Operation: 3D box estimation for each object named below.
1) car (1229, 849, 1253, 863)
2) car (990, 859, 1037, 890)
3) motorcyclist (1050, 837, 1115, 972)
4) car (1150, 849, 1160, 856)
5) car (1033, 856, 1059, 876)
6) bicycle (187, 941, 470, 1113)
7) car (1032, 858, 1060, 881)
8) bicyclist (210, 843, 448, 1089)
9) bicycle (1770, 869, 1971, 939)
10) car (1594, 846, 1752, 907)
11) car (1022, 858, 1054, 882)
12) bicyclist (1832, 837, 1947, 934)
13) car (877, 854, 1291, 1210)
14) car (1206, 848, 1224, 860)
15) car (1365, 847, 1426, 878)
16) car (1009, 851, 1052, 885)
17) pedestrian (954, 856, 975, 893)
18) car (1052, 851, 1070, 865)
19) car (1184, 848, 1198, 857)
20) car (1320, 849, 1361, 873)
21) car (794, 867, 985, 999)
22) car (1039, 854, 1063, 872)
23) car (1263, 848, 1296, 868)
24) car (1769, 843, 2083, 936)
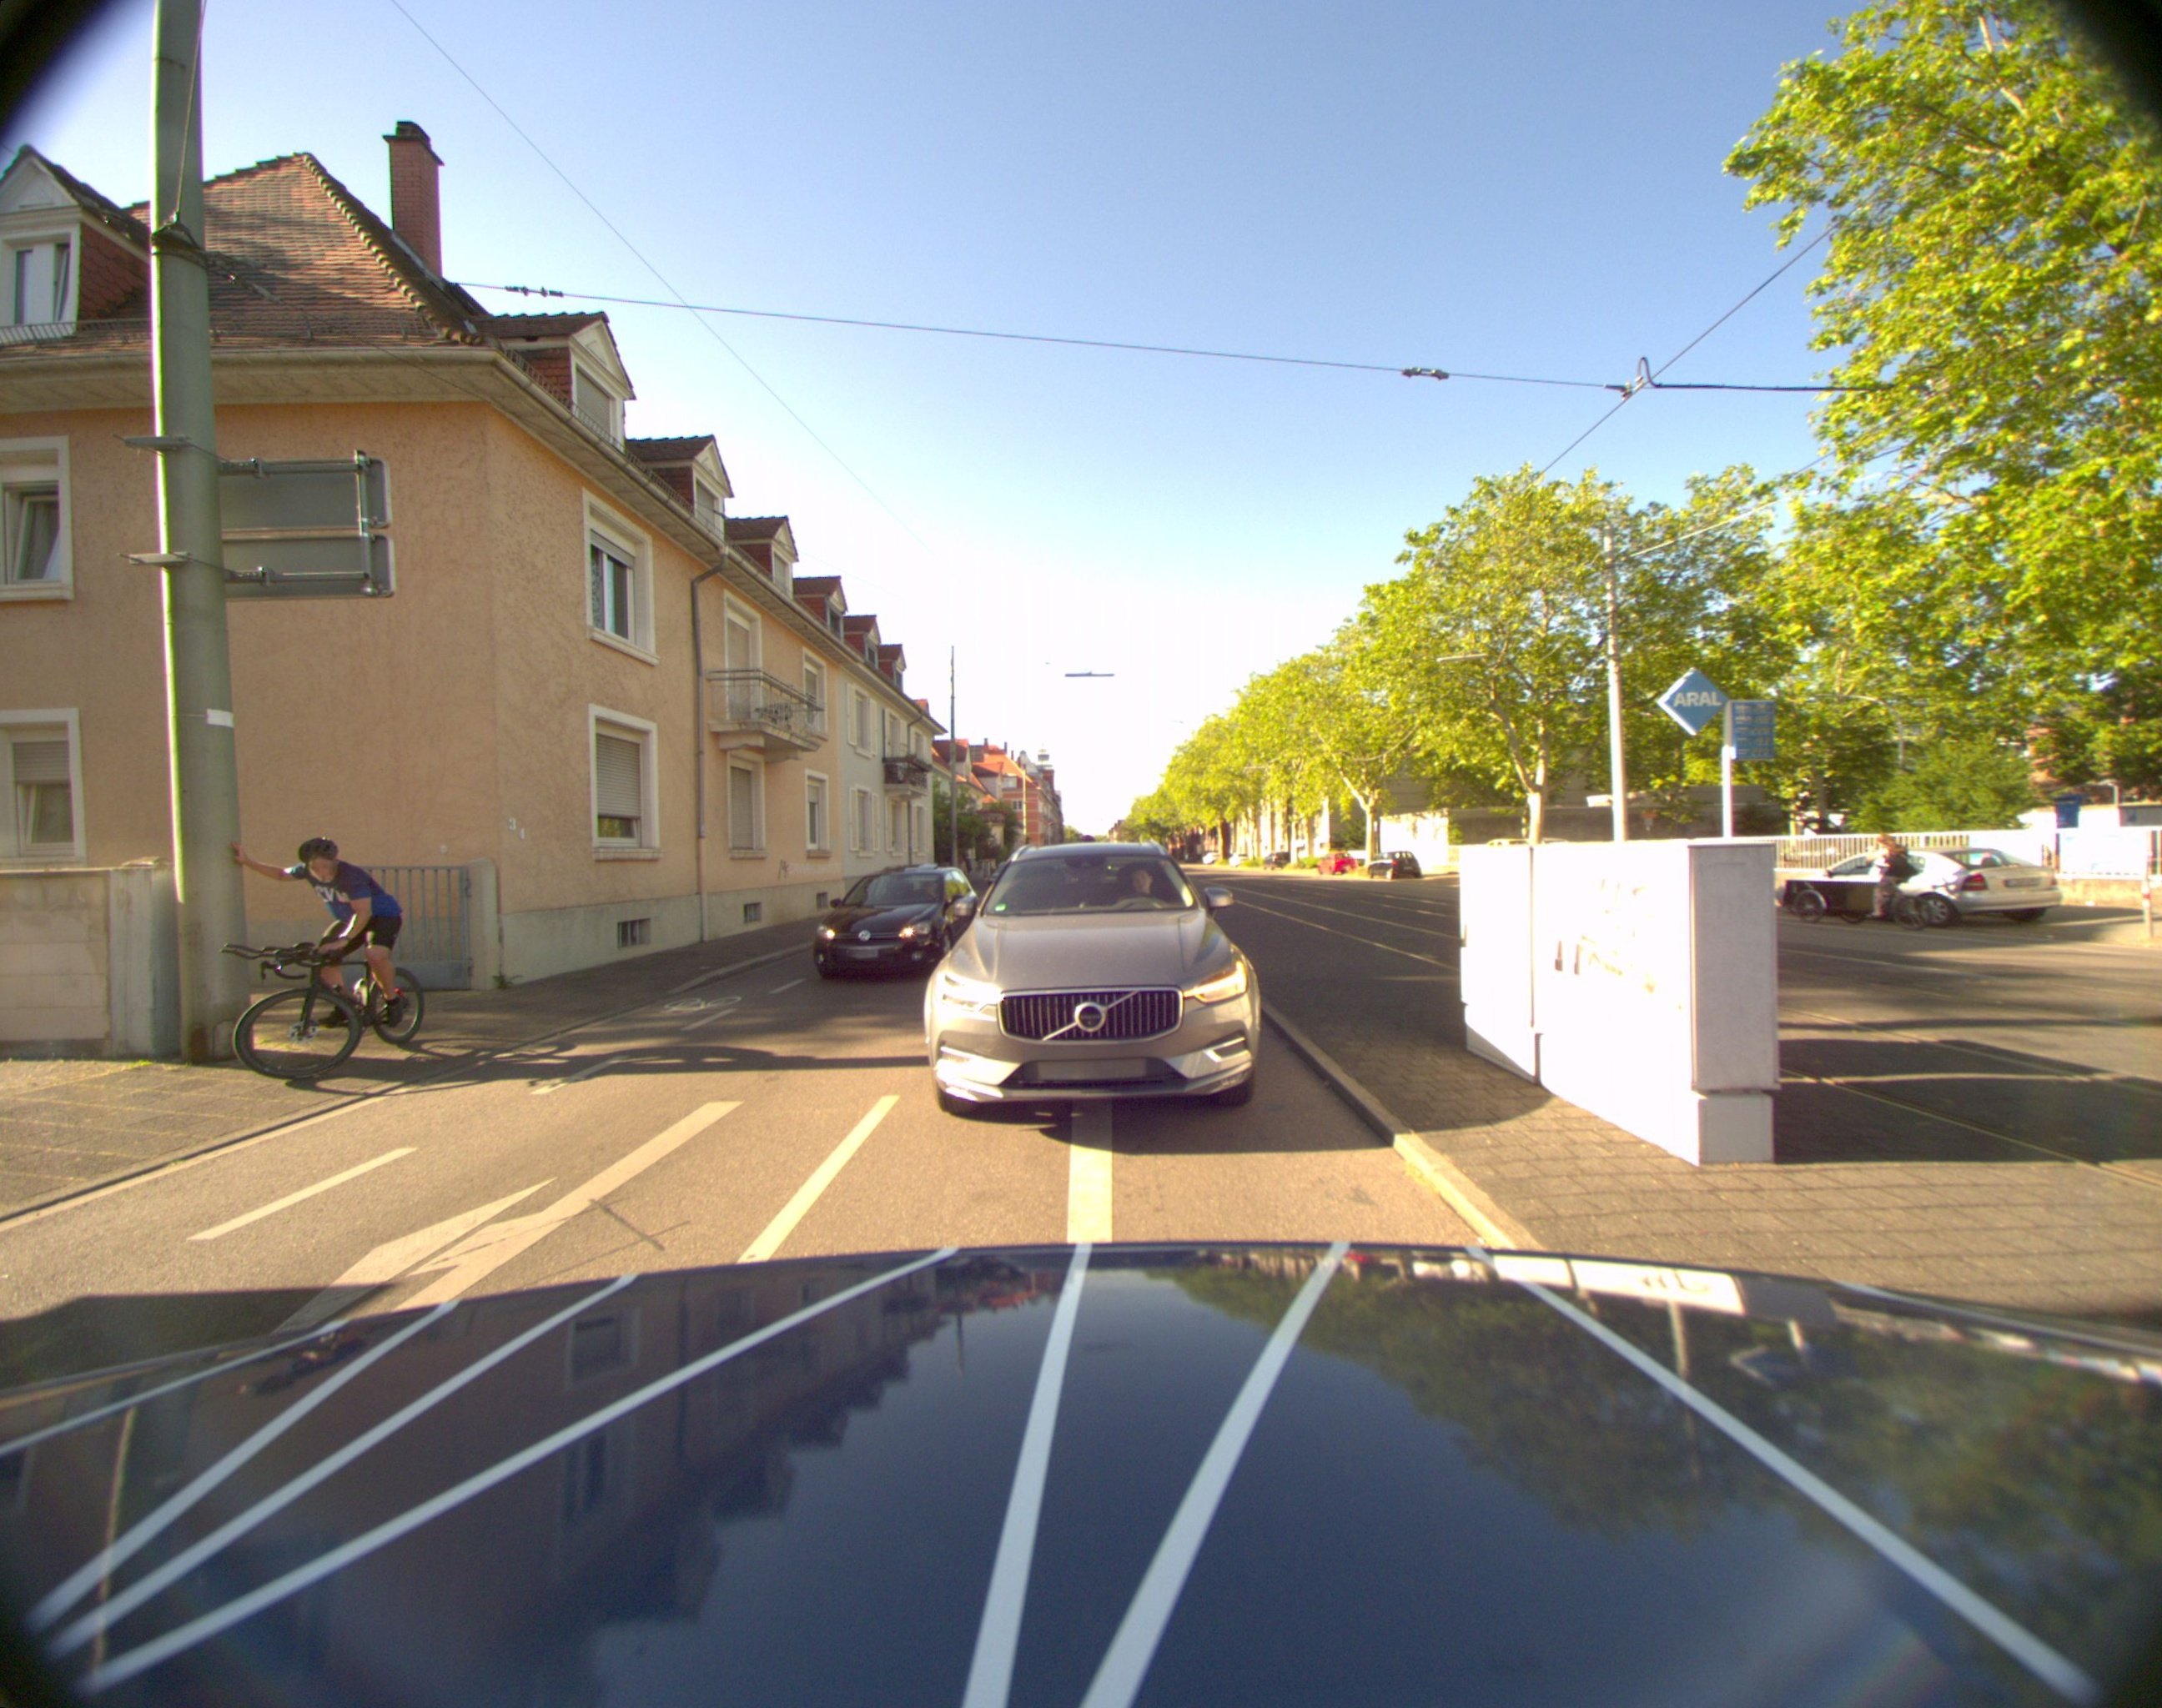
[{"bbox_3d":[17.537,0.226,83.414,1.802,1.489,4.000,-1,0,1],"label":"car"},{"bbox_3d":[-3.214,0.969,37.010,1.647,1.357,3.868,-1,0,4],"label":"car"},{"bbox_3d":[0.030,0.694,11.027,0.827,1.832,1.159,-2,1,1],"label":"motorcyclist"},{"bbox_3d":[17.481,-0.317,179.809,1.802,1.504,4.000,-1,0,1],"label":"car"},{"bbox_3d":[-2.757,0.951,60.660,1.785,1.468,4.000,-1,0,1],"label":"car"},{"bbox_3d":[-5.942,1.306,6.160,0.572,0.986,1.698,2,0,1],"label":"bicycle"},{"bbox_3d":[-2.472,1.090,54.424,1.785,1.468,4.000,-1,0,1],"label":"car"},{"bbox_3d":[-6.147,0.866,6.274,1.076,1.854,0.846,2,1,1],"label":"bicyclist"},{"bbox_3d":[14.222,0.853,13.847,1.059,1.095,2.519,0,0,1],"label":"bicycle"},{"bbox_3d":[16.430,0.578,21.326,1.692,1.455,3.519,-4,0,2],"label":"car"},{"bbox_3d":[-2.688,0.996,48.288,1.785,1.346,4.000,-1,0,1],"label":"car"},{"bbox_3d":[14.277,0.536,13.454,0.934,1.628,1.028,-1,1,0],"label":"bicyclist"},{"bbox_3d":[0.042,0.854,5.786,1.940,1.650,4.321,-1,0,1],"label":"car"},{"bbox_3d":[17.722,-0.005,100.658,1.802,1.504,4.000,-1,0,1],"label":"car"},{"bbox_3d":[16.879,0.426,40.967,1.826,1.521,3.653,-2,0,1],"label":"car"},{"bbox_3d":[-2.792,0.721,42.869,1.751,1.767,5.351,-1,0,3],"label":"car"},{"bbox_3d":[-5.325,0.928,34.730,0.694,1.652,1.098,-2,1,0],"label":"pedestrian"},{"bbox_3d":[-2.213,0.456,85.476,1.875,1.477,4.000,-1,0,1],"label":"car"},{"bbox_3d":[18.181,-0.214,125.616,1.802,1.504,4.000,-1,0,1],"label":"car"},{"bbox_3d":[16.938,0.439,49.736,1.641,1.499,3.046,-1,0,1],"label":"car"},{"bbox_3d":[-2.628,1.014,11.461,1.762,1.513,4.101,-1,0,1],"label":"car"},{"bbox_3d":[-2.568,0.773,66.813,1.875,1.477,4.000,-1,0,1],"label":"car"},{"bbox_3d":[17.188,0.291,66.028,1.802,1.652,4.000,-1,0,1],"label":"car"},{"bbox_3d":[16.245,0.600,14.978,1.795,1.455,3.966,-4,0,2],"label":"car"}]
